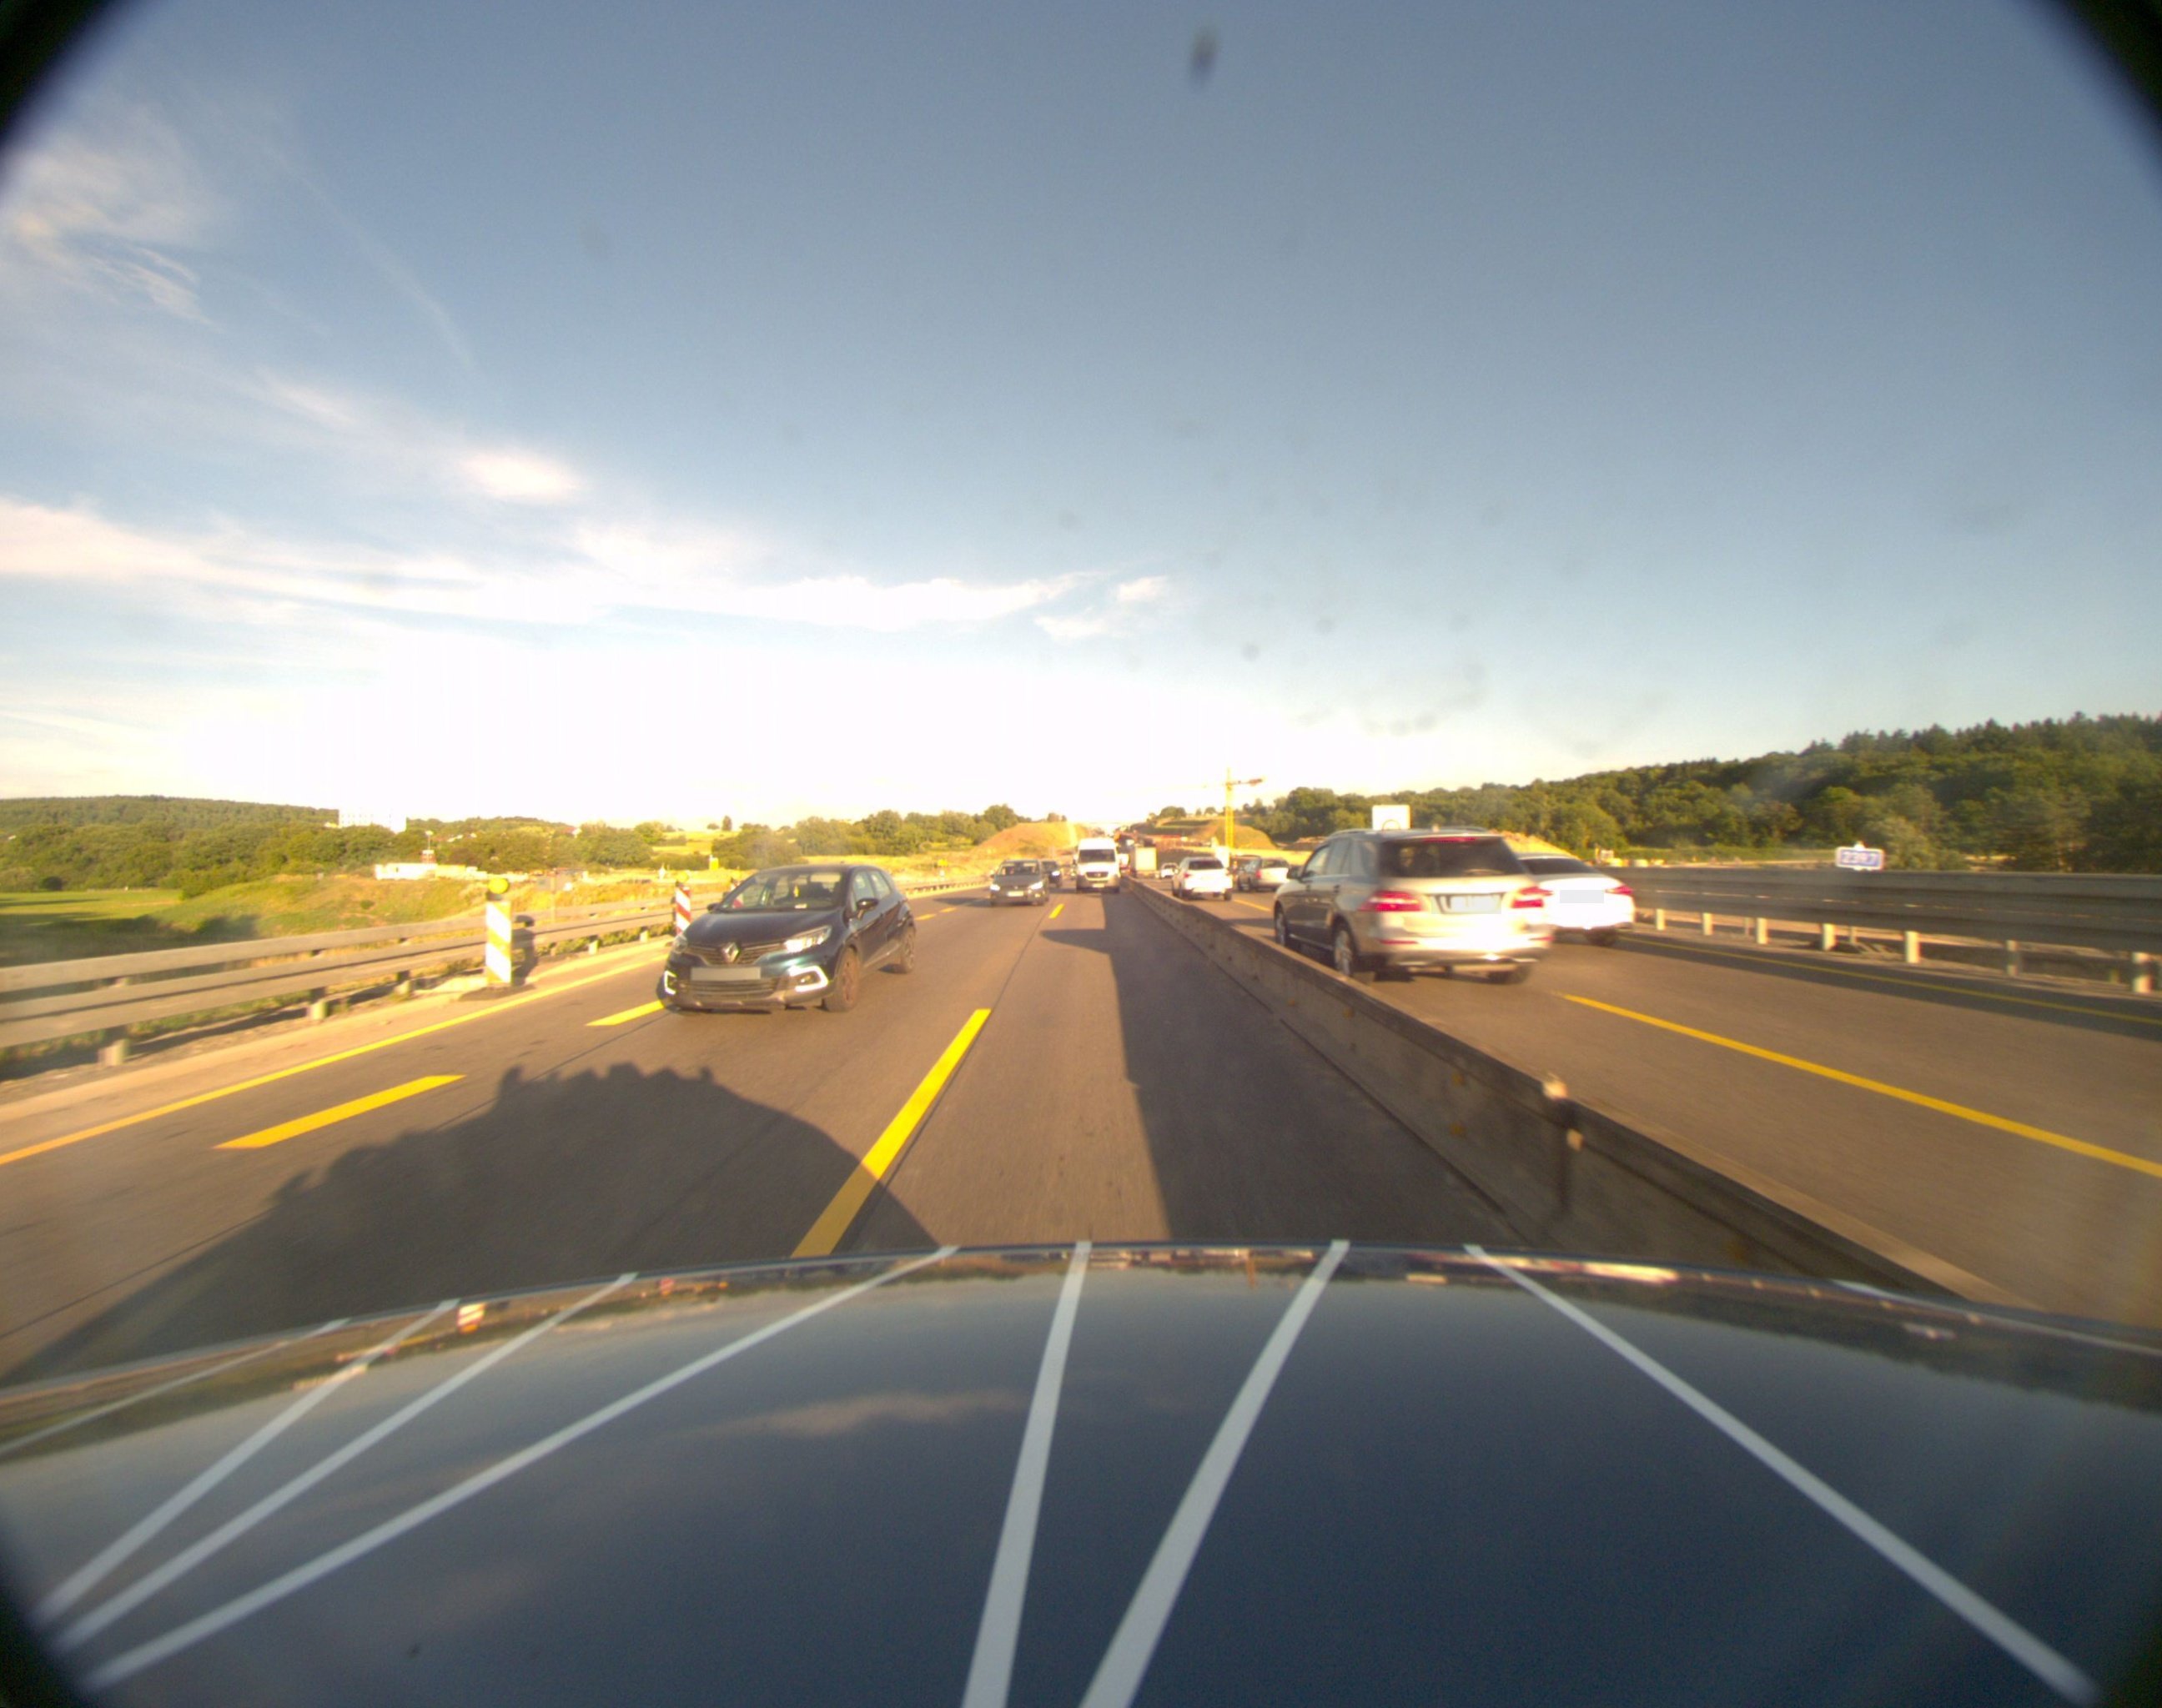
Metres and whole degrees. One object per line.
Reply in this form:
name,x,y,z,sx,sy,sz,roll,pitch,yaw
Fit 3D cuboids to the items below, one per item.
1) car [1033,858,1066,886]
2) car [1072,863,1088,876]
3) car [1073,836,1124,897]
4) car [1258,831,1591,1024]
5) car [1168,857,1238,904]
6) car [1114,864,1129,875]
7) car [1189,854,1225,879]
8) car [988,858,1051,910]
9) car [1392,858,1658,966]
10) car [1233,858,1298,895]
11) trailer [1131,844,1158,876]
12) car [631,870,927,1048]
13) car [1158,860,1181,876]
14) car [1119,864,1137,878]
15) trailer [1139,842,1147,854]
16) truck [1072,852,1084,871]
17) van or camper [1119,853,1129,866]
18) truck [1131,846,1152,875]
car,-1.983,1.120,48.487,1.902,1.703,4.888,-1,-1,-1
car,-0.134,1.868,92.340,1.791,1.477,4.001,-2,-1,0
car,0.799,0.563,34.829,2.109,2.517,5.221,-1,-1,1
car,3.731,0.684,9.378,1.998,1.748,4.660,-1,0,0
car,4.263,0.885,27.095,1.809,1.503,4.000,-1,0,0
car,5.897,2.225,110.860,1.998,1.609,4.606,-1,-1,1
car,8.386,0.825,50.877,1.784,1.561,4.001,-1,-1,1
car,-2.082,0.985,26.919,1.817,1.606,4.526,-3,0,0
car,6.909,0.797,12.504,1.778,1.374,4.532,-1,0,1
car,7.696,0.911,32.060,1.681,1.414,4.579,-2,-1,1
trailer,8.689,0.881,105.031,2.821,4.026,14.024,-1,-1,2
car,-3.233,1.018,9.139,1.778,1.576,4.135,-2,-1,1
car,8.265,1.331,71.425,1.705,1.437,4.001,-1,-1,1
car,5.943,2.179,96.908,1.998,1.635,4.512,-2,-1,0
trailer,21.922,-2.169,267.912,2.779,4.007,13.687,-1,0,5
truck,-0.688,1.638,159.500,2.264,3.705,6.572,-4,0,-1
van or camper,11.811,1.642,209.382,2.464,3.477,7.415,-1,-1,0
truck,8.882,0.948,111.880,2.821,4.024,5.673,-1,0,2
